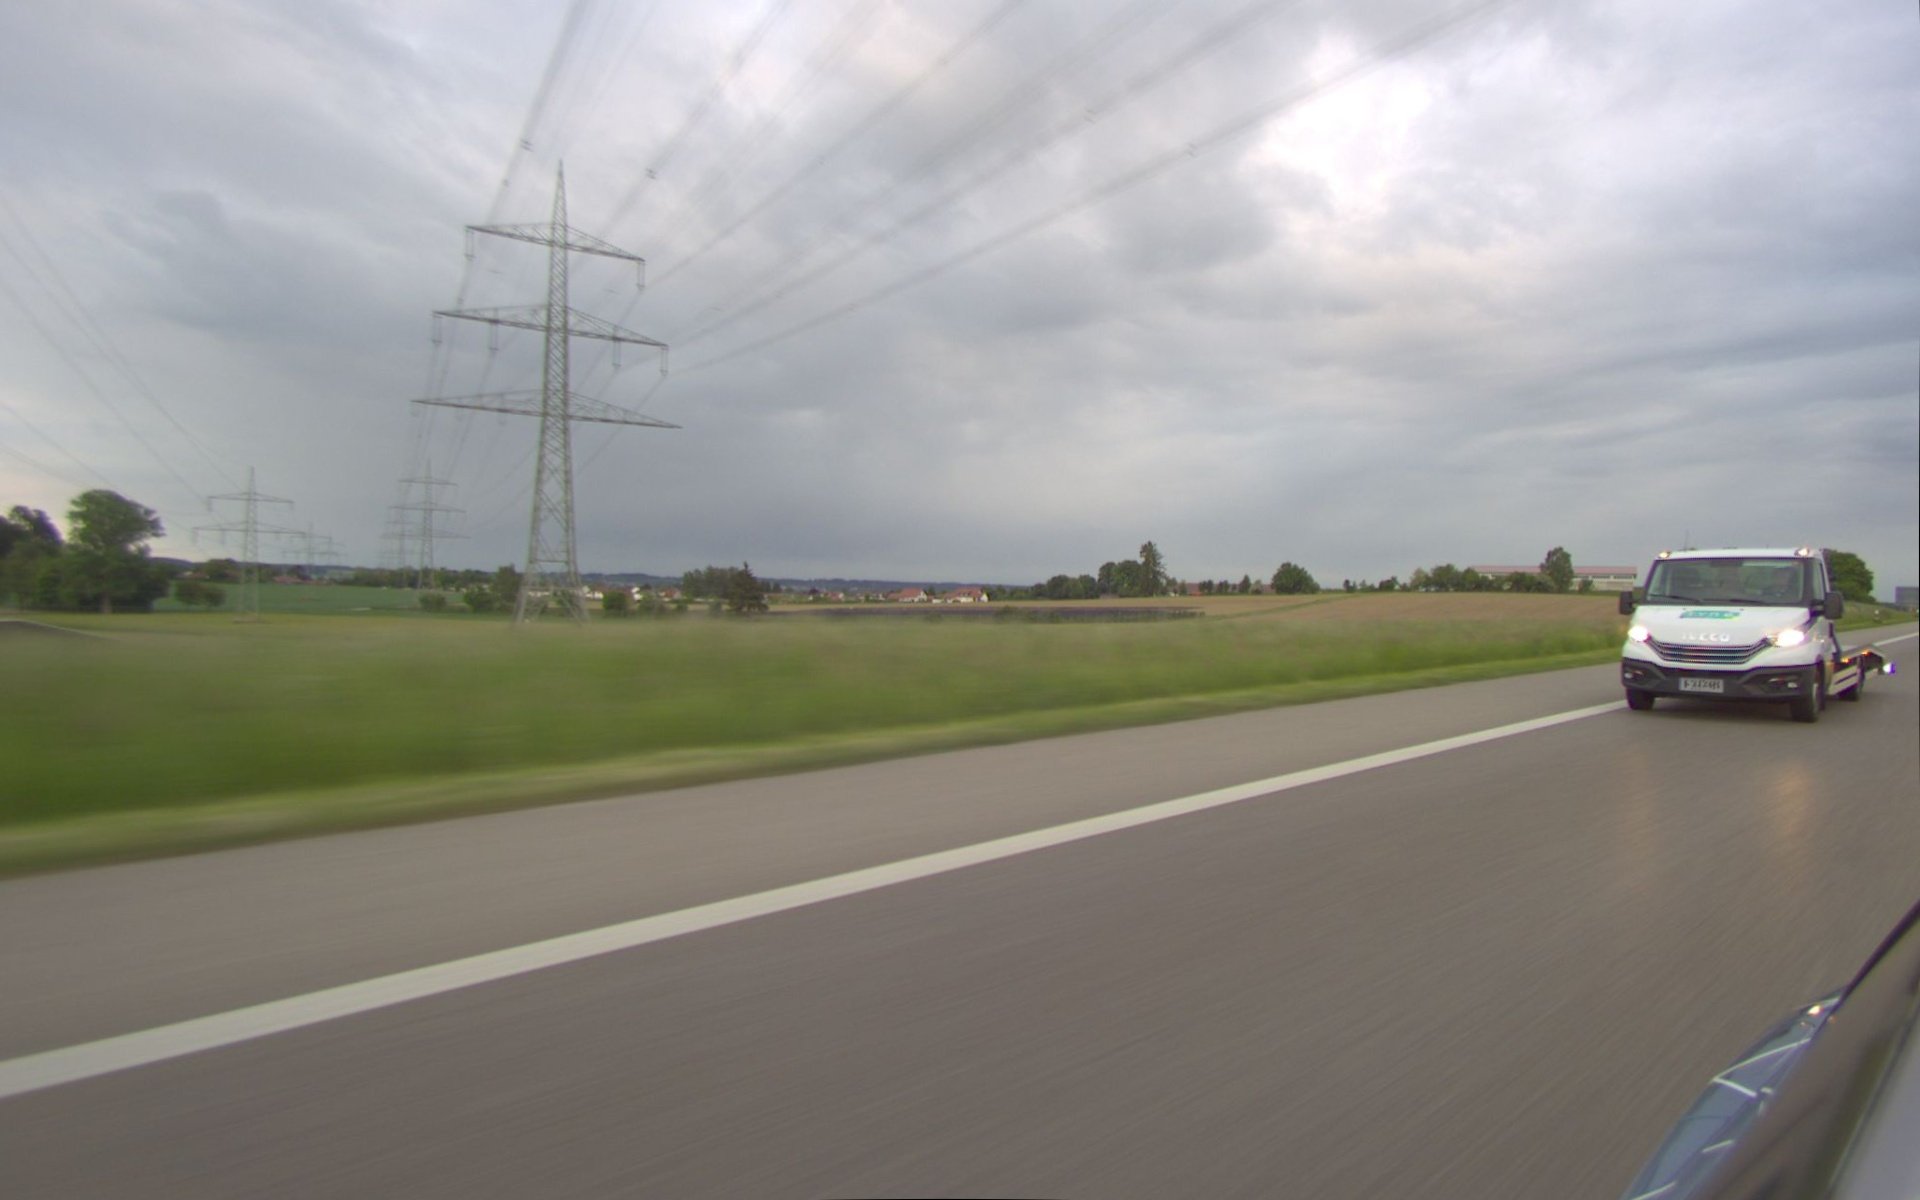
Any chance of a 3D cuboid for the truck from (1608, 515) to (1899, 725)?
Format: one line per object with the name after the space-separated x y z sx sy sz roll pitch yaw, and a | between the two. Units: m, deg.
11.971 0.234 14.943 7.565 2.390 2.174 0 -1 -43 | truck
